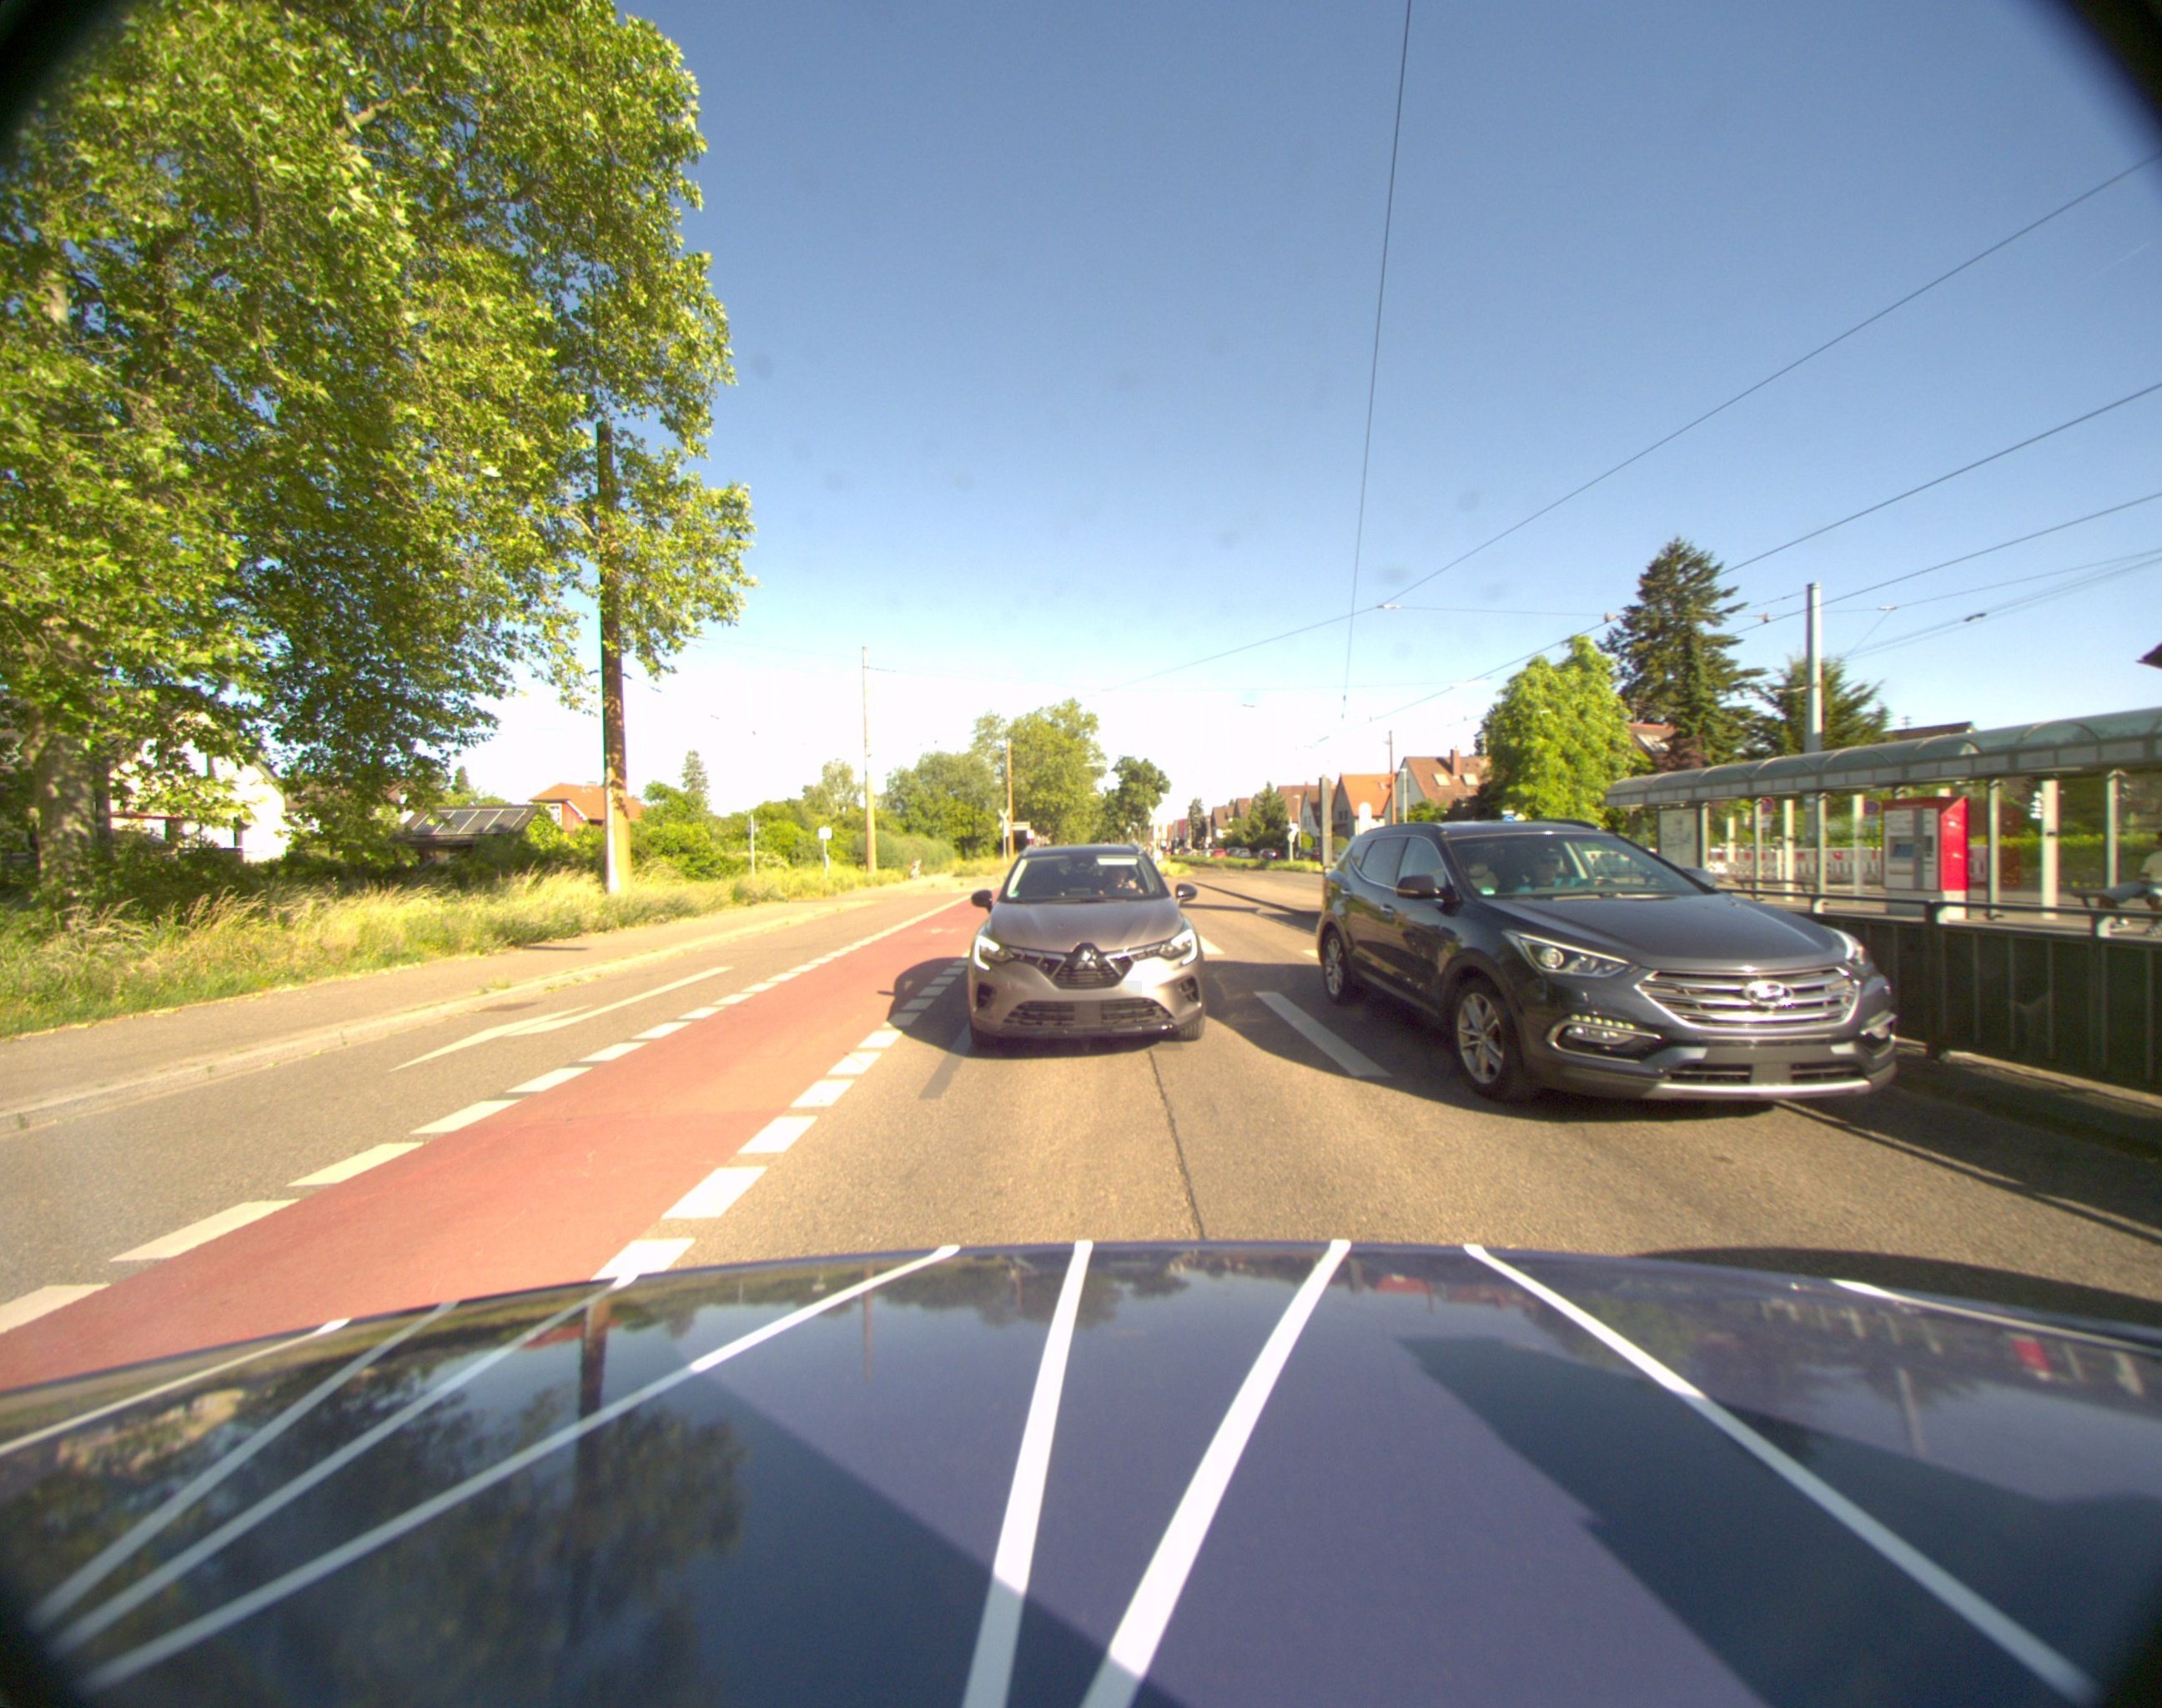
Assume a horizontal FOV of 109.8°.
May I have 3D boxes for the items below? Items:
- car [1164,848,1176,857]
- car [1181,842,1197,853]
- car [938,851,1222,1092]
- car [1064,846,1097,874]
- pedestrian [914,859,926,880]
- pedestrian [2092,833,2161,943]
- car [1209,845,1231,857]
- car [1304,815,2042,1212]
[{"bbox_3d":[17.535,-0.272,150.179,1.998,1.652,4.000,-1,0,1],"label":"car"},{"bbox_3d":[17.649,-1.010,124.474,1.998,1.761,4.000,-1,0,1],"label":"car"},{"bbox_3d":[0.019,0.768,6.890,1.839,1.541,3.815,-1,0,1],"label":"car"},{"bbox_3d":[0.036,0.341,45.011,1.839,1.541,3.816,-1,0,1],"label":"car"},{"bbox_3d":[-7.998,0.756,37.735,0.482,1.027,0.454,-1,1,1],"label":"pedestrian"},{"bbox_3d":[14.080,0.437,9.981,0.623,1.406,0.711,1,1,-2],"label":"pedestrian"},{"bbox_3d":[17.251,-0.335,94.434,1.998,1.455,4.000,-1,0,1],"label":"car"},{"bbox_3d":[3.197,0.676,5.432,1.886,1.686,4.299,-1,0,-1],"label":"car"}]
